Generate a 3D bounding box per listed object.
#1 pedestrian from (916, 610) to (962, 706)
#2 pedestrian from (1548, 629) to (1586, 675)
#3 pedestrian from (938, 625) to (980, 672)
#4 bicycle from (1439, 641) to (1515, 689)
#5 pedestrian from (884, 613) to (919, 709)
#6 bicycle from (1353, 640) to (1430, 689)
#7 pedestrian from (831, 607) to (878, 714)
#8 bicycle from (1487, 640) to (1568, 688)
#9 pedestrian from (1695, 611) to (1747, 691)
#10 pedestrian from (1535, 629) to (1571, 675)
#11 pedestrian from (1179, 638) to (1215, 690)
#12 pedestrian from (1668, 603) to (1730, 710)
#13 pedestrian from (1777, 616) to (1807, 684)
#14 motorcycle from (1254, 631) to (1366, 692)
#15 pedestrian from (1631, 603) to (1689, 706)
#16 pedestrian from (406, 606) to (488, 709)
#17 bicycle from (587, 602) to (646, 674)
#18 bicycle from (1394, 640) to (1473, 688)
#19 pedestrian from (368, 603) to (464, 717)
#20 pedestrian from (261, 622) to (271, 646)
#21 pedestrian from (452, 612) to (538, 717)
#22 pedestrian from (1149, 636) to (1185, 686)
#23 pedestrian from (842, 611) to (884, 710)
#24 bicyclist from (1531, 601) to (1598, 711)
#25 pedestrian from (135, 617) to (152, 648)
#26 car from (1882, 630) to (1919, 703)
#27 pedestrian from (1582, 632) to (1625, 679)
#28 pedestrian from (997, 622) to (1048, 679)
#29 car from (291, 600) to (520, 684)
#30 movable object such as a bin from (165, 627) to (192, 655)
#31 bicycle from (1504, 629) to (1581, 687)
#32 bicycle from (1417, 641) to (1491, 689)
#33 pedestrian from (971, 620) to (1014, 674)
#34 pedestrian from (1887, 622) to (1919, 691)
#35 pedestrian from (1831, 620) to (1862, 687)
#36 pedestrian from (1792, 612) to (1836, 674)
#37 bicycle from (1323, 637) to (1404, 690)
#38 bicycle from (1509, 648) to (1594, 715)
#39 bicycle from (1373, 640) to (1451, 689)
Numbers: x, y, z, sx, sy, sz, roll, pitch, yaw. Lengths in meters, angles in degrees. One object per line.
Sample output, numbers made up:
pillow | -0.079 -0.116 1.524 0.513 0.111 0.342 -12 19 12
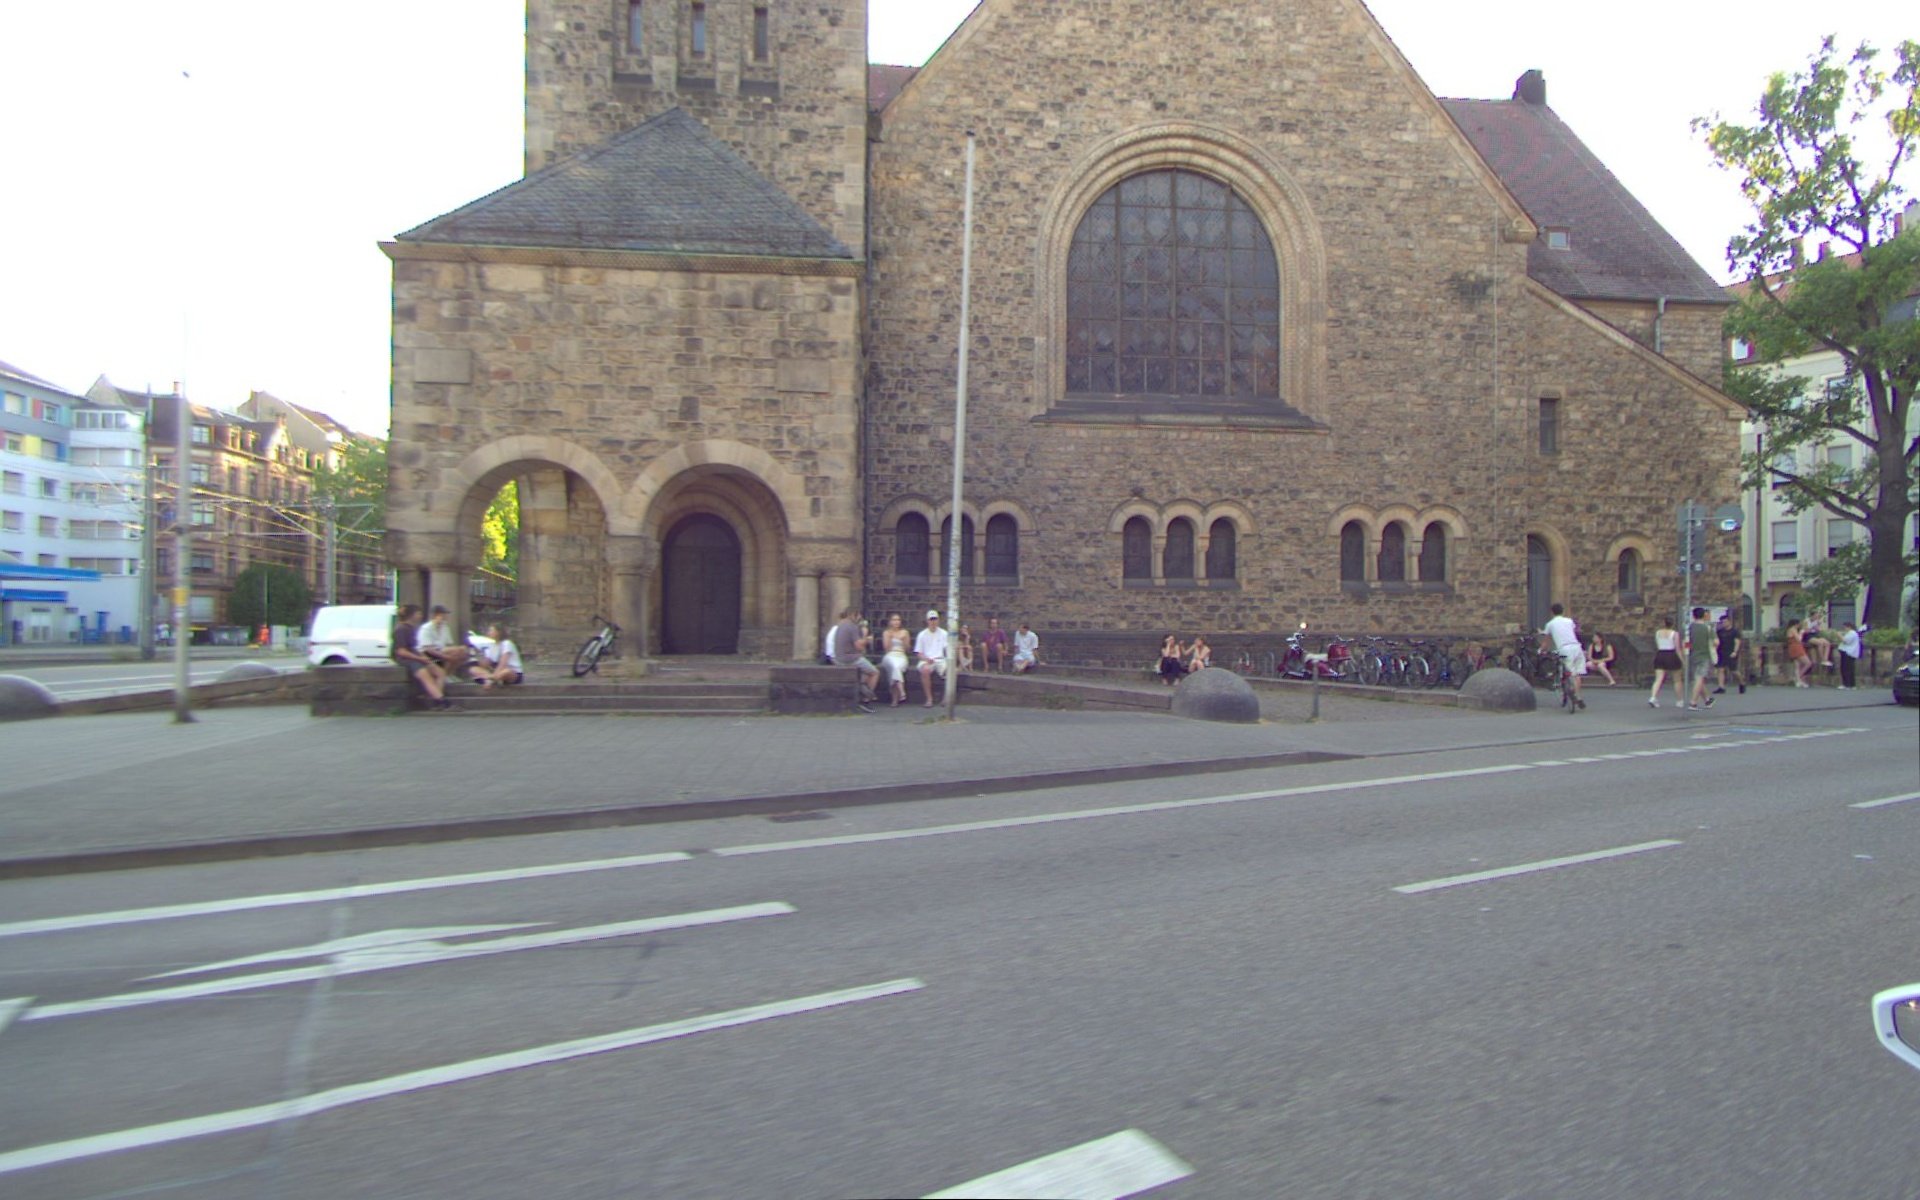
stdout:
pedestrian | -0.314 0.880 15.333 0.619 1.425 0.704 0 -1 5
pedestrian | 14.420 1.235 23.854 0.596 1.062 0.498 1 -1 -9
pedestrian | -0.014 0.994 20.752 0.635 0.928 0.740 0 -2 21
bicycle | 11.592 1.444 22.578 0.364 1.002 1.879 1 -2 -14
pedestrian | -0.885 0.916 15.308 0.449 1.425 0.548 0 -1 5
bicycle | 9.565 1.410 22.357 0.458 1.002 2.003 1 -2 -14
pedestrian | -1.476 0.844 14.152 0.546 1.472 0.551 0 -1 5
bicycle | 12.817 1.430 22.747 0.434 1.002 1.879 1 -2 -14
pedestrian | 16.898 1.122 22.312 0.683 1.748 0.711 1 -2 -29
pedestrian | 13.830 1.204 23.437 0.726 1.062 0.519 0 -1 31
pedestrian | 4.727 1.255 20.002 0.551 1.004 0.695 0 -2 27
pedestrian | 13.493 1.013 18.344 0.882 1.904 0.643 1 -1 -33
pedestrian | 21.050 1.264 25.419 0.407 1.696 0.548 0 -1 21
motorcycle | 7.445 1.275 21.506 0.811 1.141 2.407 1 0 -25
pedestrian | 13.176 1.011 18.896 0.978 1.881 0.569 1 -1 -33
pedestrian | -7.160 0.797 14.053 0.685 1.393 0.804 0 -2 4
bicycle | -5.444 0.603 16.040 0.584 1.071 2.282 1 -2 -11
bicycle | 10.590 1.419 22.529 0.458 1.002 1.985 1 -2 -14
pedestrian | -7.186 0.790 13.301 0.897 1.473 0.630 0 -1 -3
pedestrian | -53.625 2.608 77.631 0.446 1.850 0.550 1 -2 -22
pedestrian | -6.386 0.866 13.824 0.686 1.393 0.803 0 -2 22
pedestrian | 4.175 1.217 20.226 0.551 0.980 0.649 0 -2 27
pedestrian | -1.417 0.883 14.744 0.537 1.425 0.402 0 -1 5
bicyclist | 10.862 0.981 18.081 0.693 1.905 0.943 1 0 9
pedestrian | -53.600 2.115 65.920 0.547 2.040 0.608 0 -1 -4
car | 21.232 1.367 20.876 4.262 1.454 1.776 1 -2 -29
pedestrian | 14.902 1.274 23.272 0.688 1.070 0.516 1 -1 -13
pedestrian | 1.281 1.009 20.394 0.672 1.109 1.333 0 -2 21
car | -12.664 0.969 23.130 4.321 1.832 1.584 1 -2 -4
movable object such as a bin | -59.435 3.104 76.372 1.478 2.040 1.347 1 -2 -34
bicycle | 13.257 1.299 22.923 0.430 1.265 1.728 1 -2 -15
bicycle | 11.063 1.435 22.545 0.364 1.002 1.879 1 -2 -14
pedestrian | 0.679 0.967 20.735 0.635 1.090 0.830 0 -2 21
pedestrian | 22.242 1.305 23.540 0.830 1.572 0.579 1 -1 -33
pedestrian | 21.878 1.312 24.793 0.407 1.643 0.548 0 -1 21
pedestrian | 21.805 1.093 25.656 0.574 1.566 0.652 1 -1 -6
bicycle | 8.913 1.377 22.267 0.576 1.002 2.002 1 1 -14
bicycle | 10.562 1.428 18.026 0.542 1.026 2.189 1 0 9
bicycle | 10.063 1.417 22.430 0.458 1.002 2.003 1 -2 -14
